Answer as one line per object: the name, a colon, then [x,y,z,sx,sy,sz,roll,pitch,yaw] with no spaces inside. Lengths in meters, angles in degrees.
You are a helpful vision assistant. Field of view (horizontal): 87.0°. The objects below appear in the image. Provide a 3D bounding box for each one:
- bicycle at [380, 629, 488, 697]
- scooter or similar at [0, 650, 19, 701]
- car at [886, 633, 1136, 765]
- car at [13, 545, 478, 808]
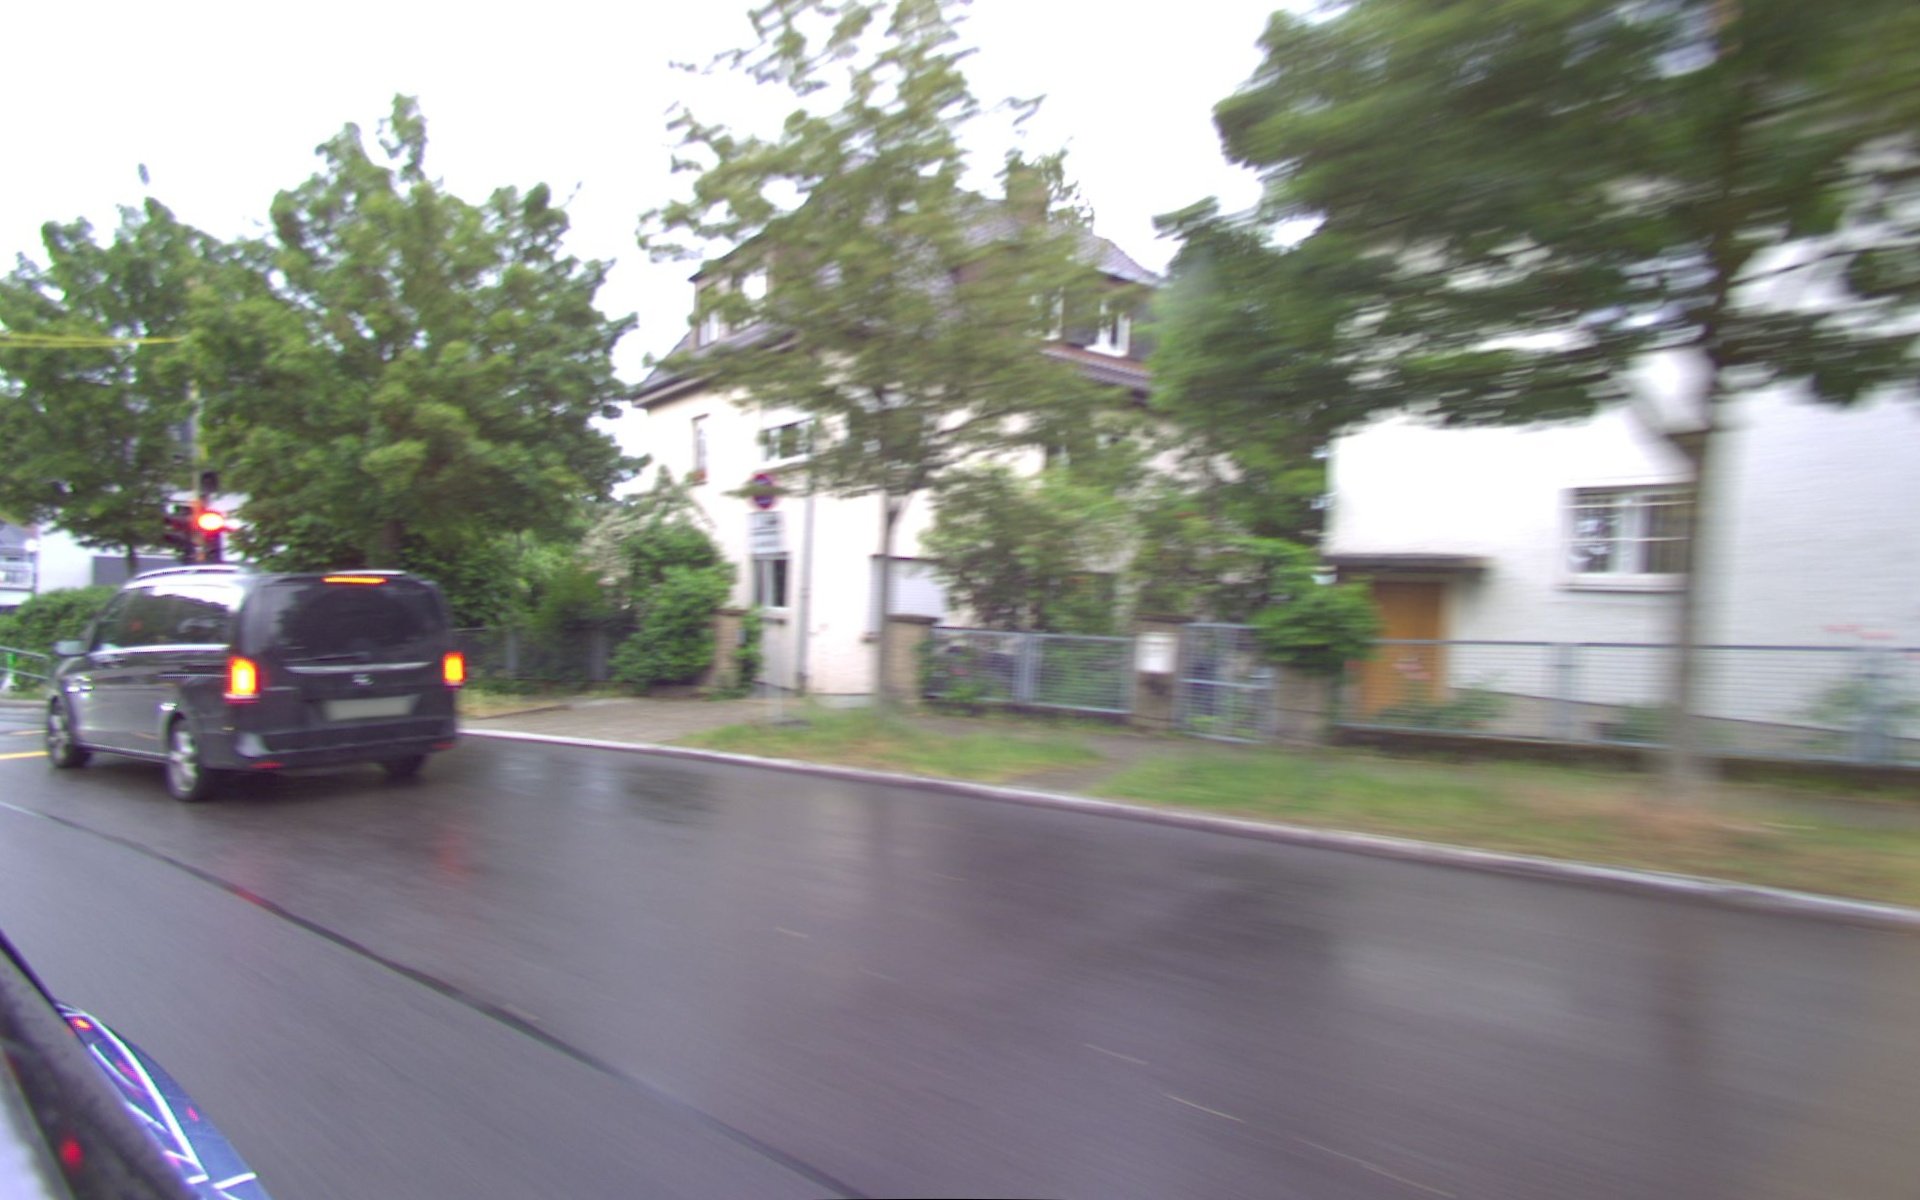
bicycle: [-10.400,1.250,19.990,2.257,1.281,0.489,-2,0,21]
scooter or similar: [-20.937,1.629,21.869,1.085,1.089,0.323,-1,-4,16]
car: [0.959,1.776,18.062,3.936,1.595,1.860,14,-9,-31]
car: [-6.912,0.627,9.587,5.139,1.904,1.881,-1,-3,34]
